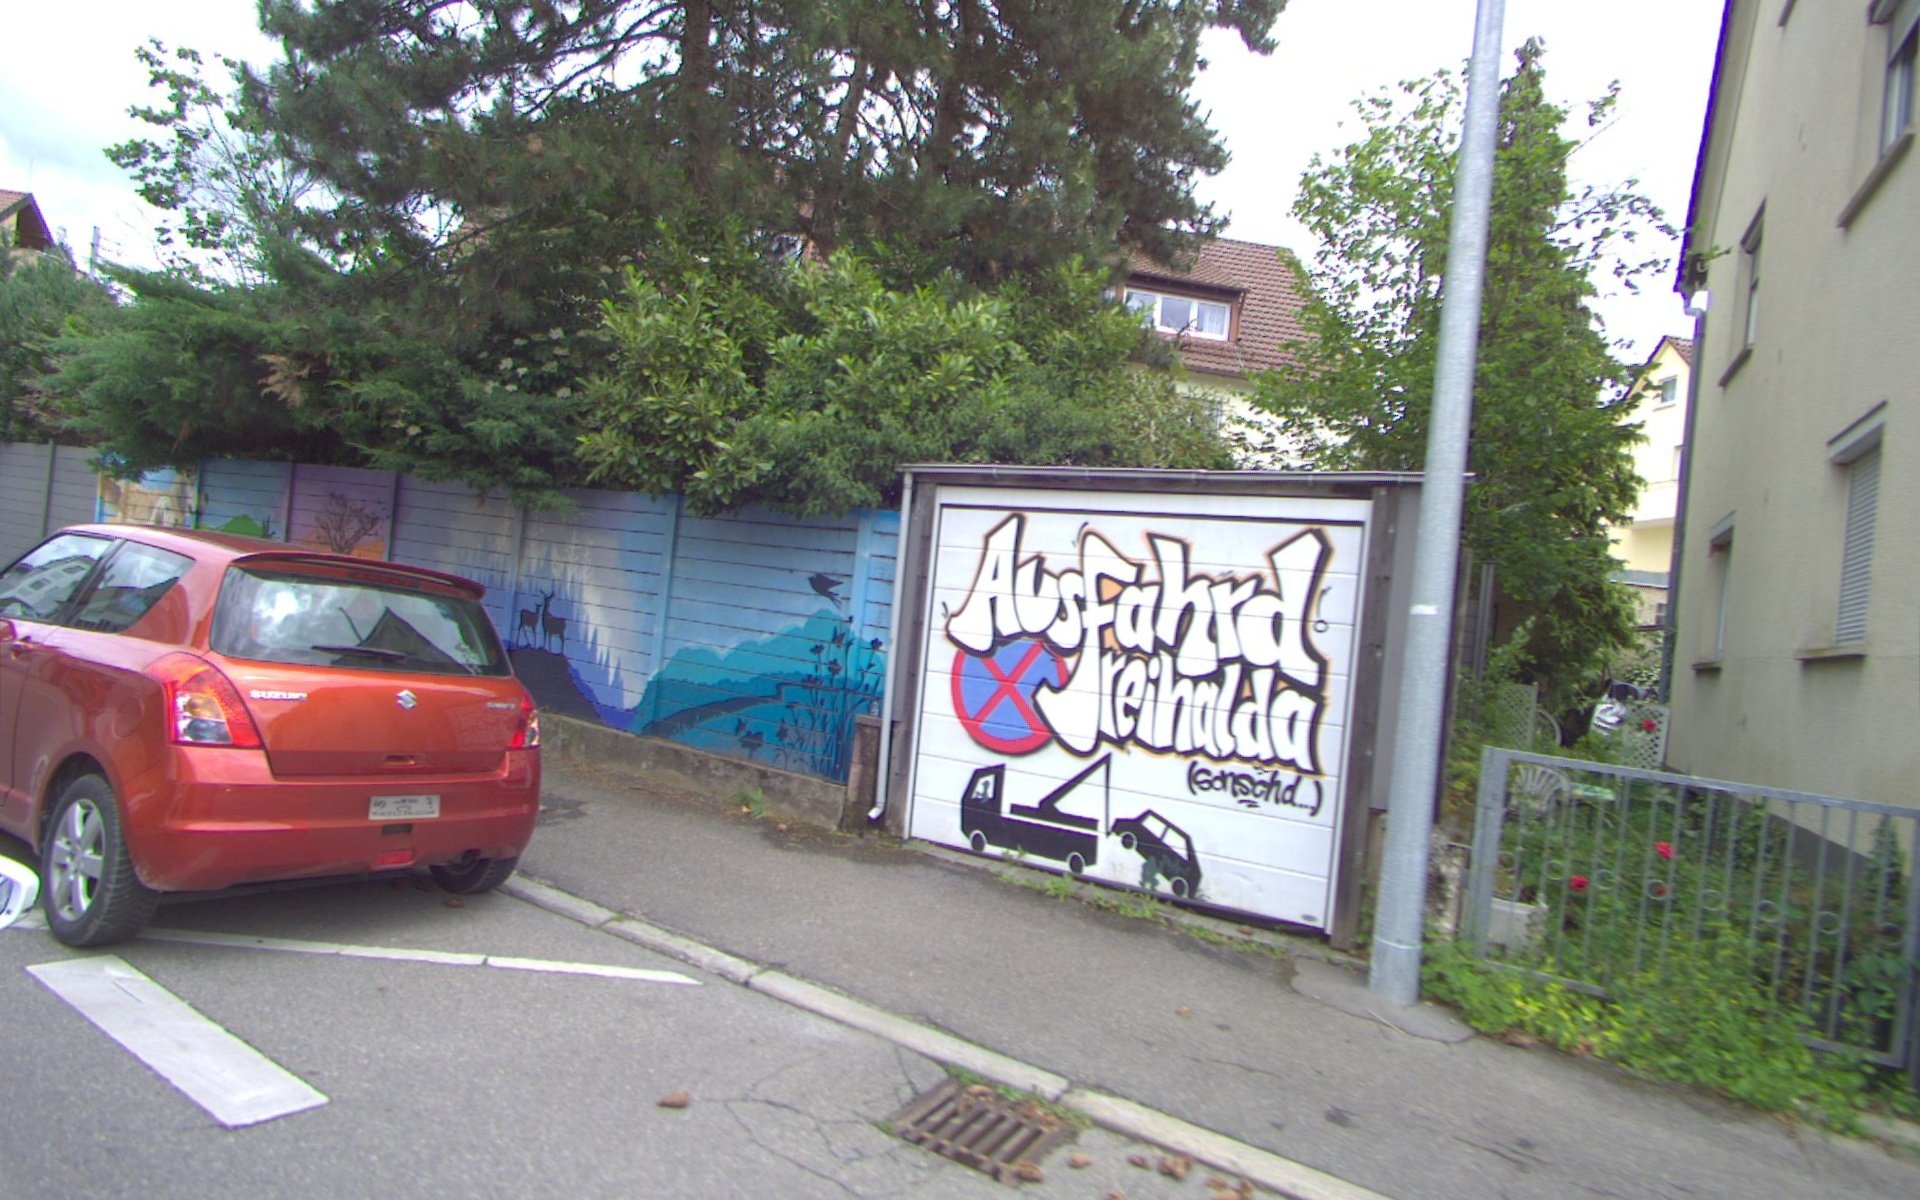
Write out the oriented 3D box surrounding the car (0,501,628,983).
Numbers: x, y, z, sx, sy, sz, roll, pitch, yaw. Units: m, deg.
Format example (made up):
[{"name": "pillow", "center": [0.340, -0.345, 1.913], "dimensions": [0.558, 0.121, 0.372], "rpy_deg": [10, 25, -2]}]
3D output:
[{"name": "car", "center": [-3.792, 0.393, 4.970], "dimensions": [3.932, 1.468, 1.763], "rpy_deg": [7, -2, 29]}]
